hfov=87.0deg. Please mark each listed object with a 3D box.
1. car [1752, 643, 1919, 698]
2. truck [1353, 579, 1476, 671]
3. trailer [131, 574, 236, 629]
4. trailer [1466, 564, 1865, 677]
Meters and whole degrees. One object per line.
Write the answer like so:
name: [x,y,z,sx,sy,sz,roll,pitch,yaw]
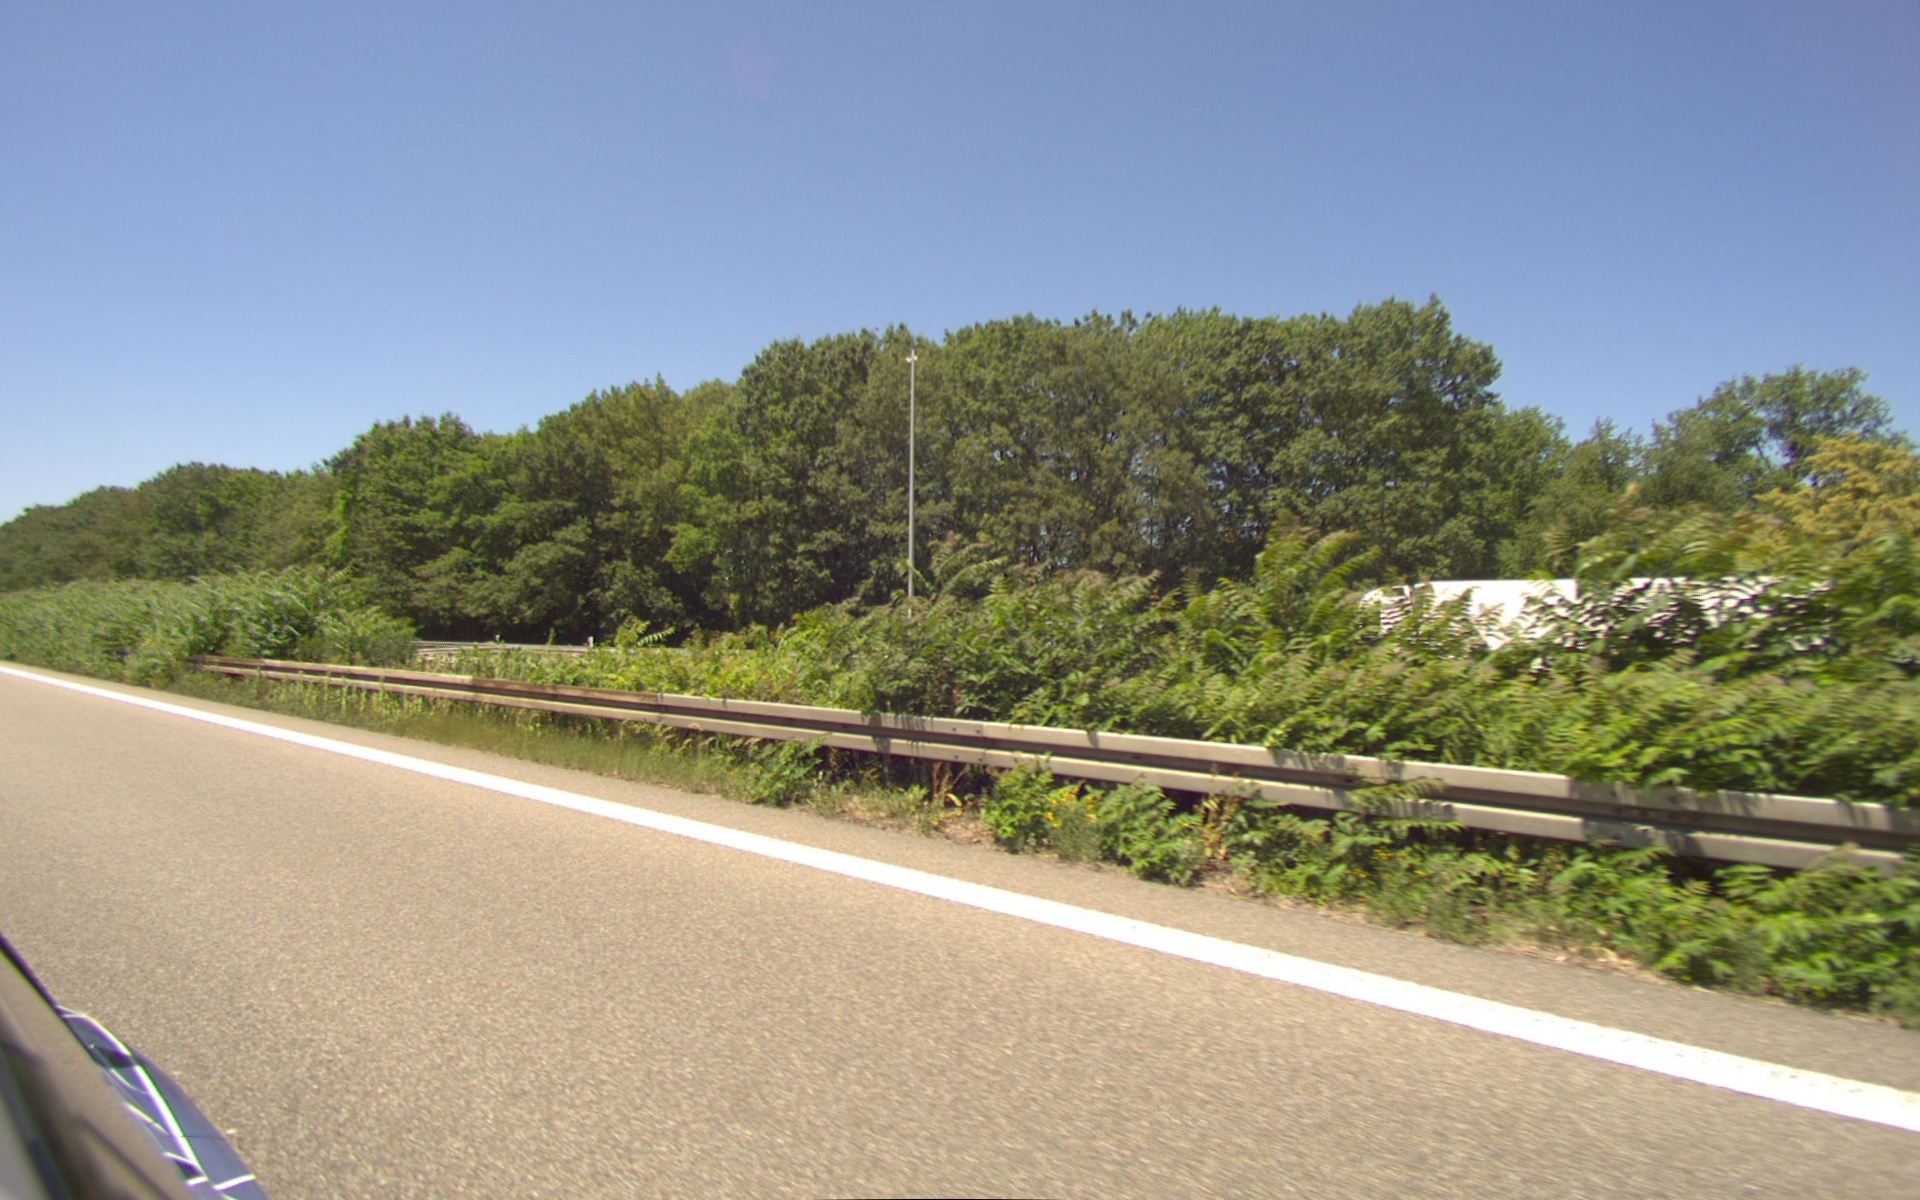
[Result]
car: [27.360,2.146,31.451,3.980,1.592,1.981,-1,-2,28]
truck: [19.813,1.095,44.143,4.672,3.797,2.592,-1,-2,30]
trailer: [-55.083,0.189,71.580,13.421,3.597,2.934,-1,-1,40]
trailer: [27.053,0.825,39.970,12.553,4.001,2.591,-1,-2,30]
